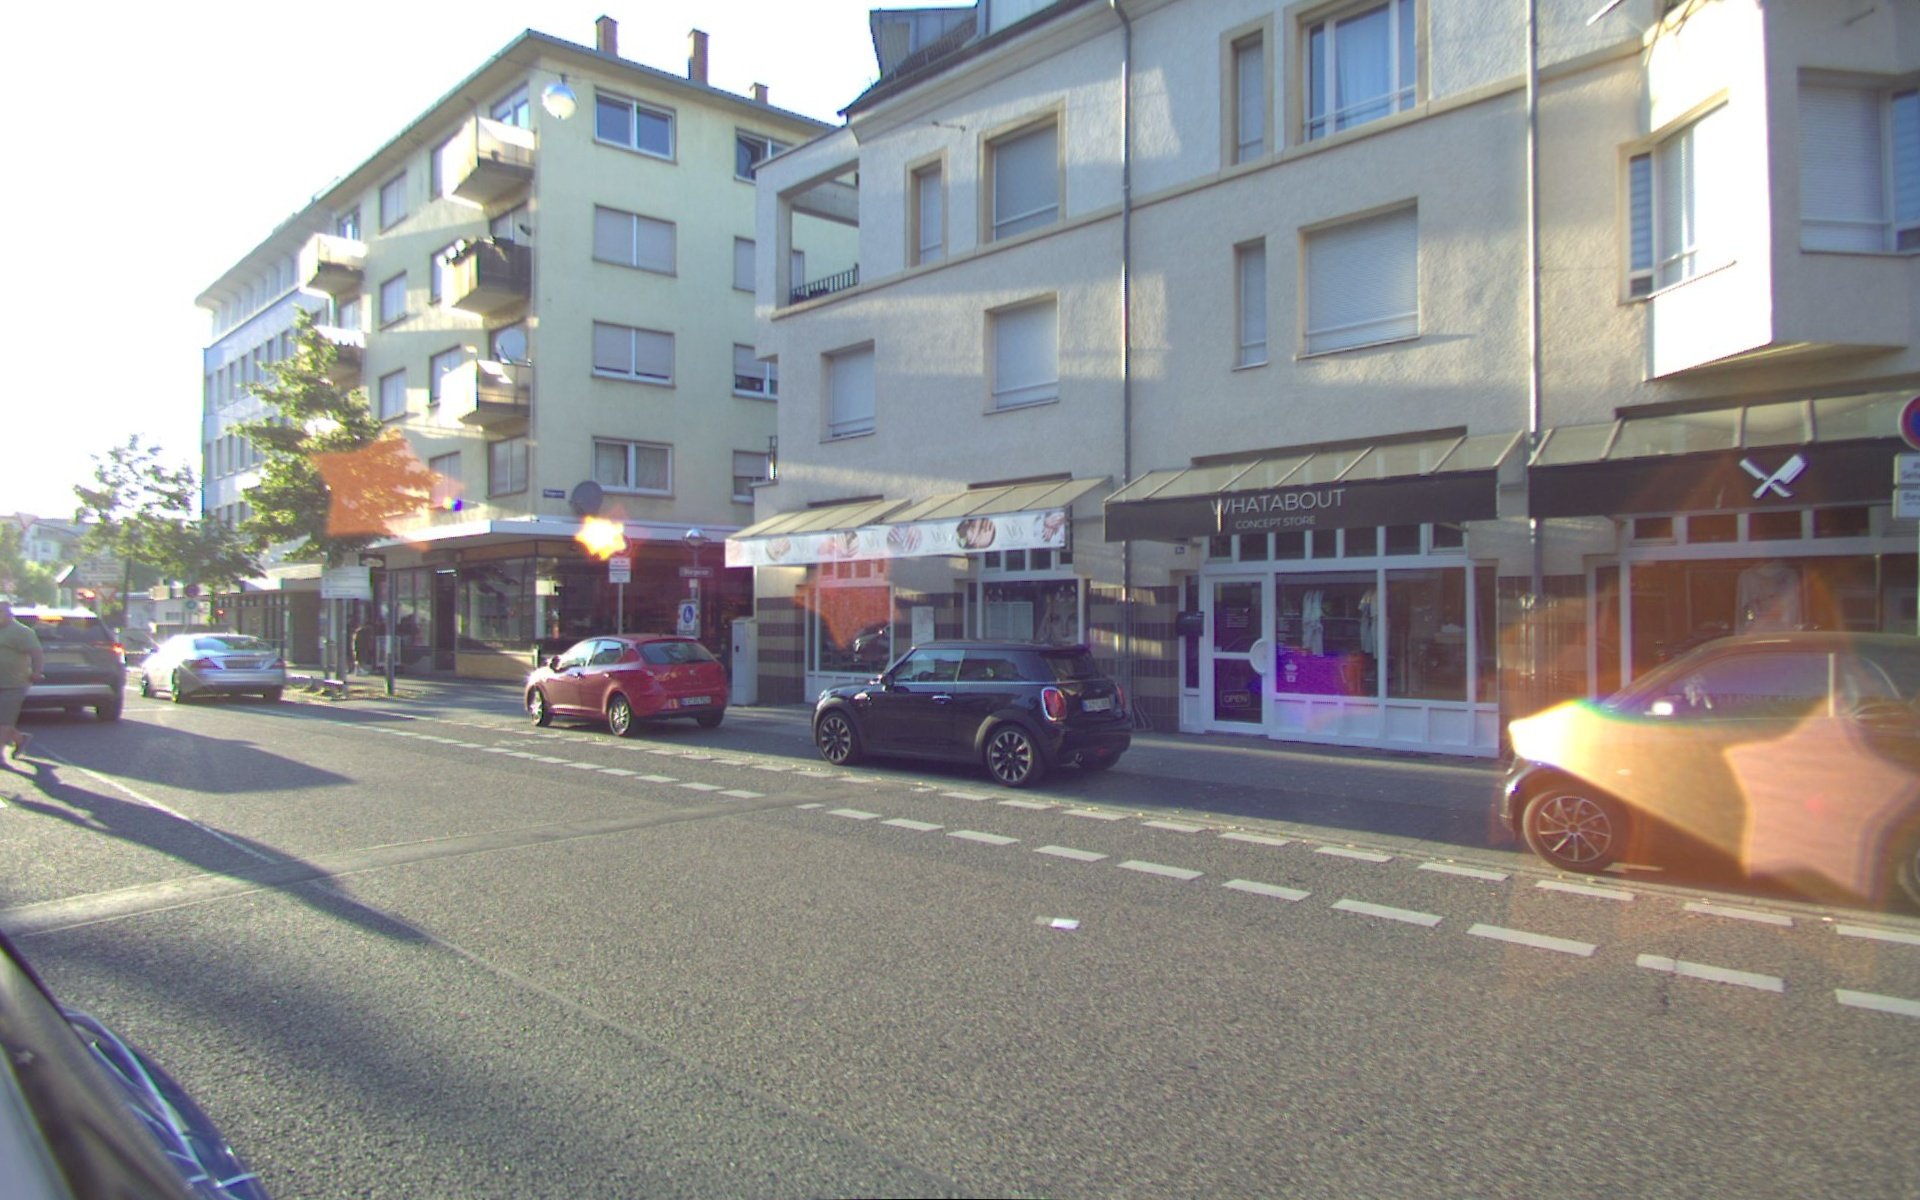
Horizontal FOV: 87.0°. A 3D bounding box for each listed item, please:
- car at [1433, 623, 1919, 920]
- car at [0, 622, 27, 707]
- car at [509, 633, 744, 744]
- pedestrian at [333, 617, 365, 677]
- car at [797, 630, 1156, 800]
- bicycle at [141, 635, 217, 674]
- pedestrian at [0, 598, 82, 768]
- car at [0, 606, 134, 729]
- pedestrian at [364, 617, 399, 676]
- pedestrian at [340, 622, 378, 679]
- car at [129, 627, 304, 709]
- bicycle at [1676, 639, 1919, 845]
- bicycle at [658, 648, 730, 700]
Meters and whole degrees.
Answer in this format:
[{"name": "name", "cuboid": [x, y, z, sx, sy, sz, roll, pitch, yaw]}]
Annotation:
[{"name": "car", "cuboid": [4.955, 0.930, 6.472, 3.185, 1.547, 1.775, -2, -2, 38]}, {"name": "car", "cuboid": [-19.923, 1.218, 20.001, 4.463, 1.561, 1.705, -1, -3, 41]}, {"name": "car", "cuboid": [-5.183, 1.254, 15.511, 3.881, 1.413, 1.644, -1, 0, 40]}, {"name": "pedestrian", "cuboid": [-19.337, 1.482, 32.032, 0.758, 1.862, 0.744, 1, -3, -40]}, {"name": "car", "cuboid": [0.077, 1.103, 11.073, 3.723, 1.464, 1.693, -1, 0, 41]}, {"name": "bicycle", "cuboid": [-26.644, 1.840, 34.541, 0.491, 1.228, 1.988, -1, 0, 41]}, {"name": "pedestrian", "cuboid": [-9.961, 0.836, 10.479, 0.987, 1.689, 0.900, 0, -3, 23]}, {"name": "car", "cuboid": [-14.462, 0.954, 15.592, 4.737, 1.657, 1.920, -1, -3, 41]}, {"name": "pedestrian", "cuboid": [-18.148, 1.454, 31.734, 0.813, 1.833, 0.732, -3, -4, 43]}, {"name": "pedestrian", "cuboid": [-18.094, 1.519, 30.468, 0.758, 1.689, 0.744, 0, -1, -7]}, {"name": "car", "cuboid": [-15.825, 1.401, 21.459, 4.507, 1.523, 1.973, -1, -4, 41]}, {"name": "bicycle", "cuboid": [6.688, 1.003, 7.367, 2.357, 1.385, 0.604, -1, 0, 40]}, {"name": "bicycle", "cuboid": [-5.719, 1.560, 21.687, 2.015, 0.999, 0.484, -1, 0, 42]}]
